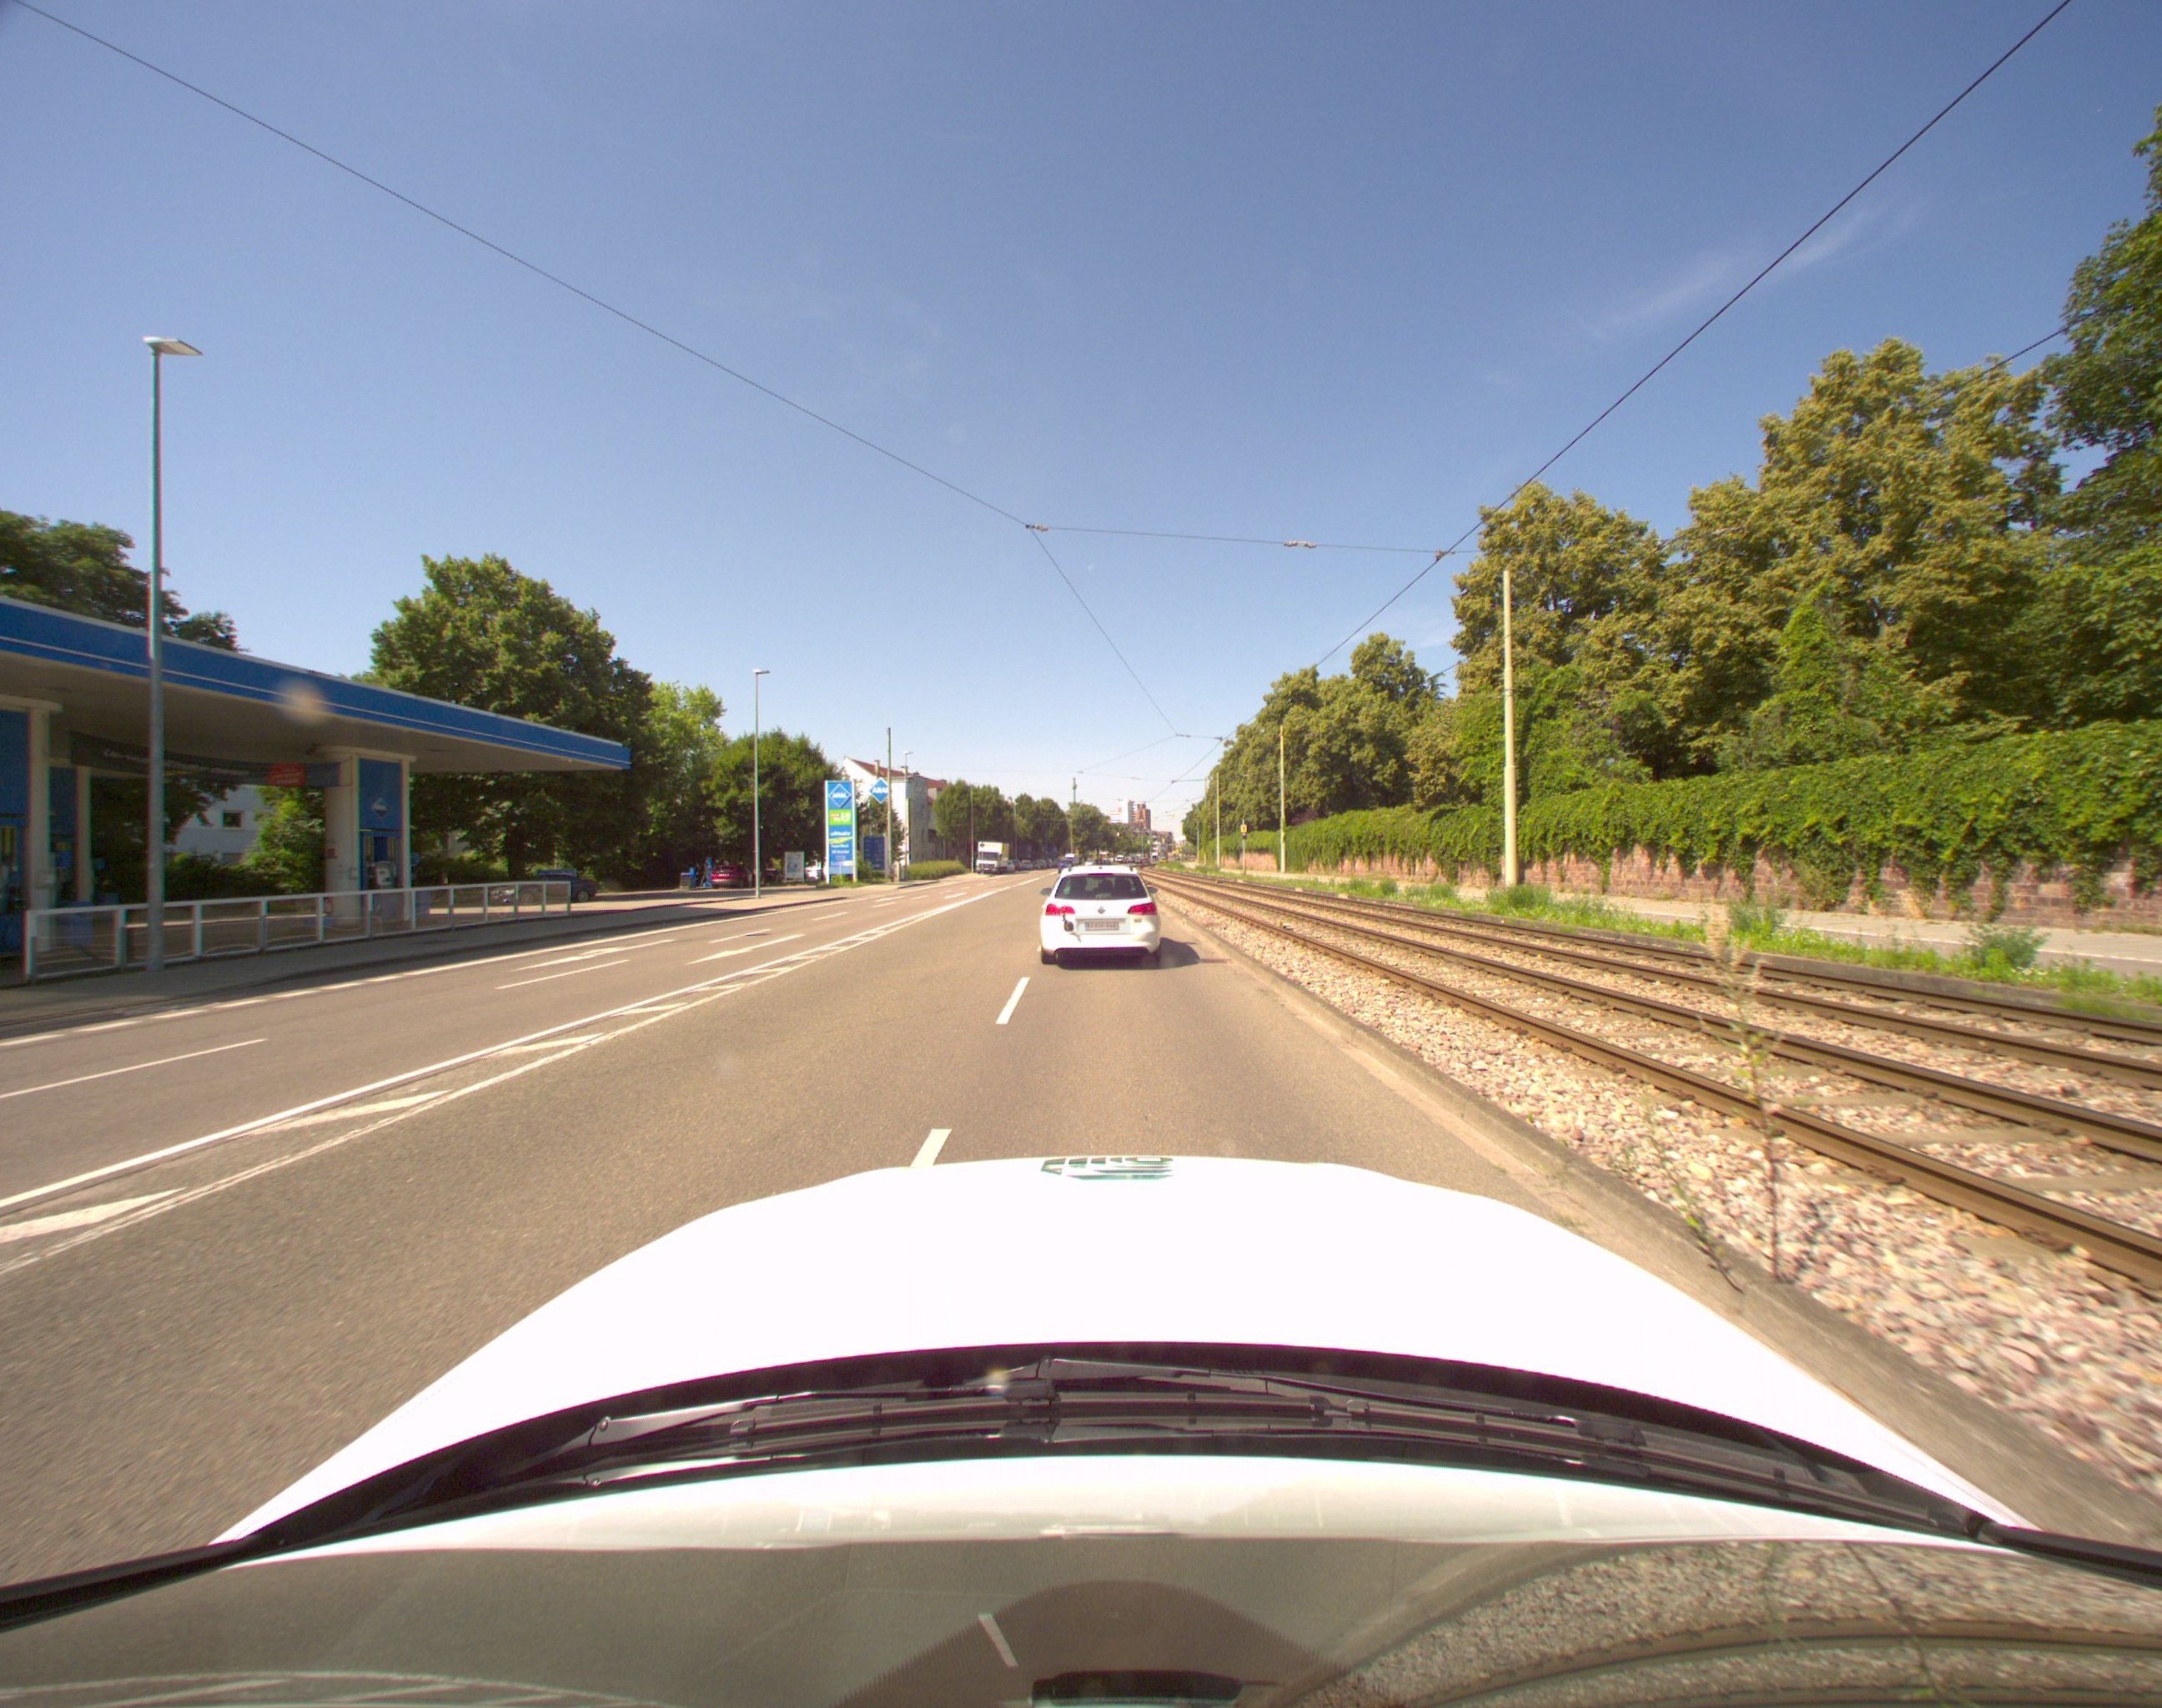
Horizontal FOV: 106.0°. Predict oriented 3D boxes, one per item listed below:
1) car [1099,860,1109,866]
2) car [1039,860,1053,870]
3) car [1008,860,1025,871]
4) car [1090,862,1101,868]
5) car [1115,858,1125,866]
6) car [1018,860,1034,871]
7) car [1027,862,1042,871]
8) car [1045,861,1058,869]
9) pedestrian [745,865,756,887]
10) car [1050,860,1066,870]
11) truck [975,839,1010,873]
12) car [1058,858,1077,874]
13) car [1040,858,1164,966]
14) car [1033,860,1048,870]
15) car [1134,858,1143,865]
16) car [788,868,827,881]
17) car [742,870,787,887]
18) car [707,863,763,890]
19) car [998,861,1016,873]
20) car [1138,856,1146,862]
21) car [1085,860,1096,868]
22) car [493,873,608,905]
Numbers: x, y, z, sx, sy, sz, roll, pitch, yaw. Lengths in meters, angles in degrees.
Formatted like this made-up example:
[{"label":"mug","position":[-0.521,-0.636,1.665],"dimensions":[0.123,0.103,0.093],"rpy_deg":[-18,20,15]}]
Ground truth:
[{"label":"car","position":[5.893,2.275,206.500],"dimensions":[1.688,1.352,4.014],"rpy_deg":[-1,-1,13]},{"label":"car","position":[-5.906,1.848,139.446],"dimensions":[1.761,1.723,4.876],"rpy_deg":[1,0,5]},{"label":"car","position":[-8.781,1.535,110.703],"dimensions":[1.724,1.552,4.321],"rpy_deg":[0,0,2]},{"label":"car","position":[3.420,2.579,193.807],"dimensions":[1.688,1.417,4.014],"rpy_deg":[-1,-1,13]},{"label":"car","position":[11.469,2.435,240.399],"dimensions":[1.867,2.416,5.134],"rpy_deg":[-1,-1,13]},{"label":"car","position":[-8.120,1.725,121.372],"dimensions":[1.773,1.483,4.860],"rpy_deg":[0,-1,3]},{"label":"car","position":[-7.330,1.968,127.983],"dimensions":[1.715,1.474,4.720],"rpy_deg":[1,-1,4]},{"label":"car","position":[-5.196,1.976,144.894],"dimensions":[1.681,1.474,4.056],"rpy_deg":[2,0,7]},{"label":"pedestrian","position":[-22.744,1.532,56.079],"dimensions":[0.497,1.481,0.500],"rpy_deg":[-1,-1,1]},{"label":"car","position":[-4.174,2.019,149.975],"dimensions":[1.789,1.724,4.923],"rpy_deg":[2,0,10]},{"label":"truck","position":[-9.771,0.262,90.686],"dimensions":[2.657,3.530,8.593],"rpy_deg":[1,0,2]},{"label":"car","position":[-1.352,1.237,83.013],"dimensions":[1.793,1.507,4.003],"rpy_deg":[0,0,2]},{"label":"car","position":[0.334,0.794,13.247],"dimensions":[1.685,1.451,4.459],"rpy_deg":[0,0,1]},{"label":"car","position":[-6.654,1.851,133.941],"dimensions":[1.708,1.625,4.319],"rpy_deg":[0,0,6]},{"label":"car","position":[13.353,1.746,190.160],"dimensions":[1.790,1.507,4.010],"rpy_deg":[0,0,9]},{"label":"car","position":[-29.252,2.189,87.127],"dimensions":[3.626,1.205,1.580],"rpy_deg":[-2,-1,11]},{"label":"car","position":[-29.880,2.339,76.840],"dimensions":[3.573,1.484,1.667],"rpy_deg":[-2,-1,14]},{"label":"car","position":[-23.521,1.504,55.594],"dimensions":[1.793,1.570,4.519],"rpy_deg":[-1,1,1]},{"label":"car","position":[-9.341,1.636,103.227],"dimensions":[1.751,1.429,4.283],"rpy_deg":[0,0,2]},{"label":"car","position":[14.687,1.216,196.123],"dimensions":[1.790,1.460,4.010],"rpy_deg":[0,0,9]},{"label":"car","position":[1.801,1.967,156.524],"dimensions":[1.650,1.420,4.317],"rpy_deg":[-3,-1,6]},{"label":"car","position":[-25.102,1.625,38.691],"dimensions":[1.783,1.346,4.267],"rpy_deg":[-1,0,24]}]
